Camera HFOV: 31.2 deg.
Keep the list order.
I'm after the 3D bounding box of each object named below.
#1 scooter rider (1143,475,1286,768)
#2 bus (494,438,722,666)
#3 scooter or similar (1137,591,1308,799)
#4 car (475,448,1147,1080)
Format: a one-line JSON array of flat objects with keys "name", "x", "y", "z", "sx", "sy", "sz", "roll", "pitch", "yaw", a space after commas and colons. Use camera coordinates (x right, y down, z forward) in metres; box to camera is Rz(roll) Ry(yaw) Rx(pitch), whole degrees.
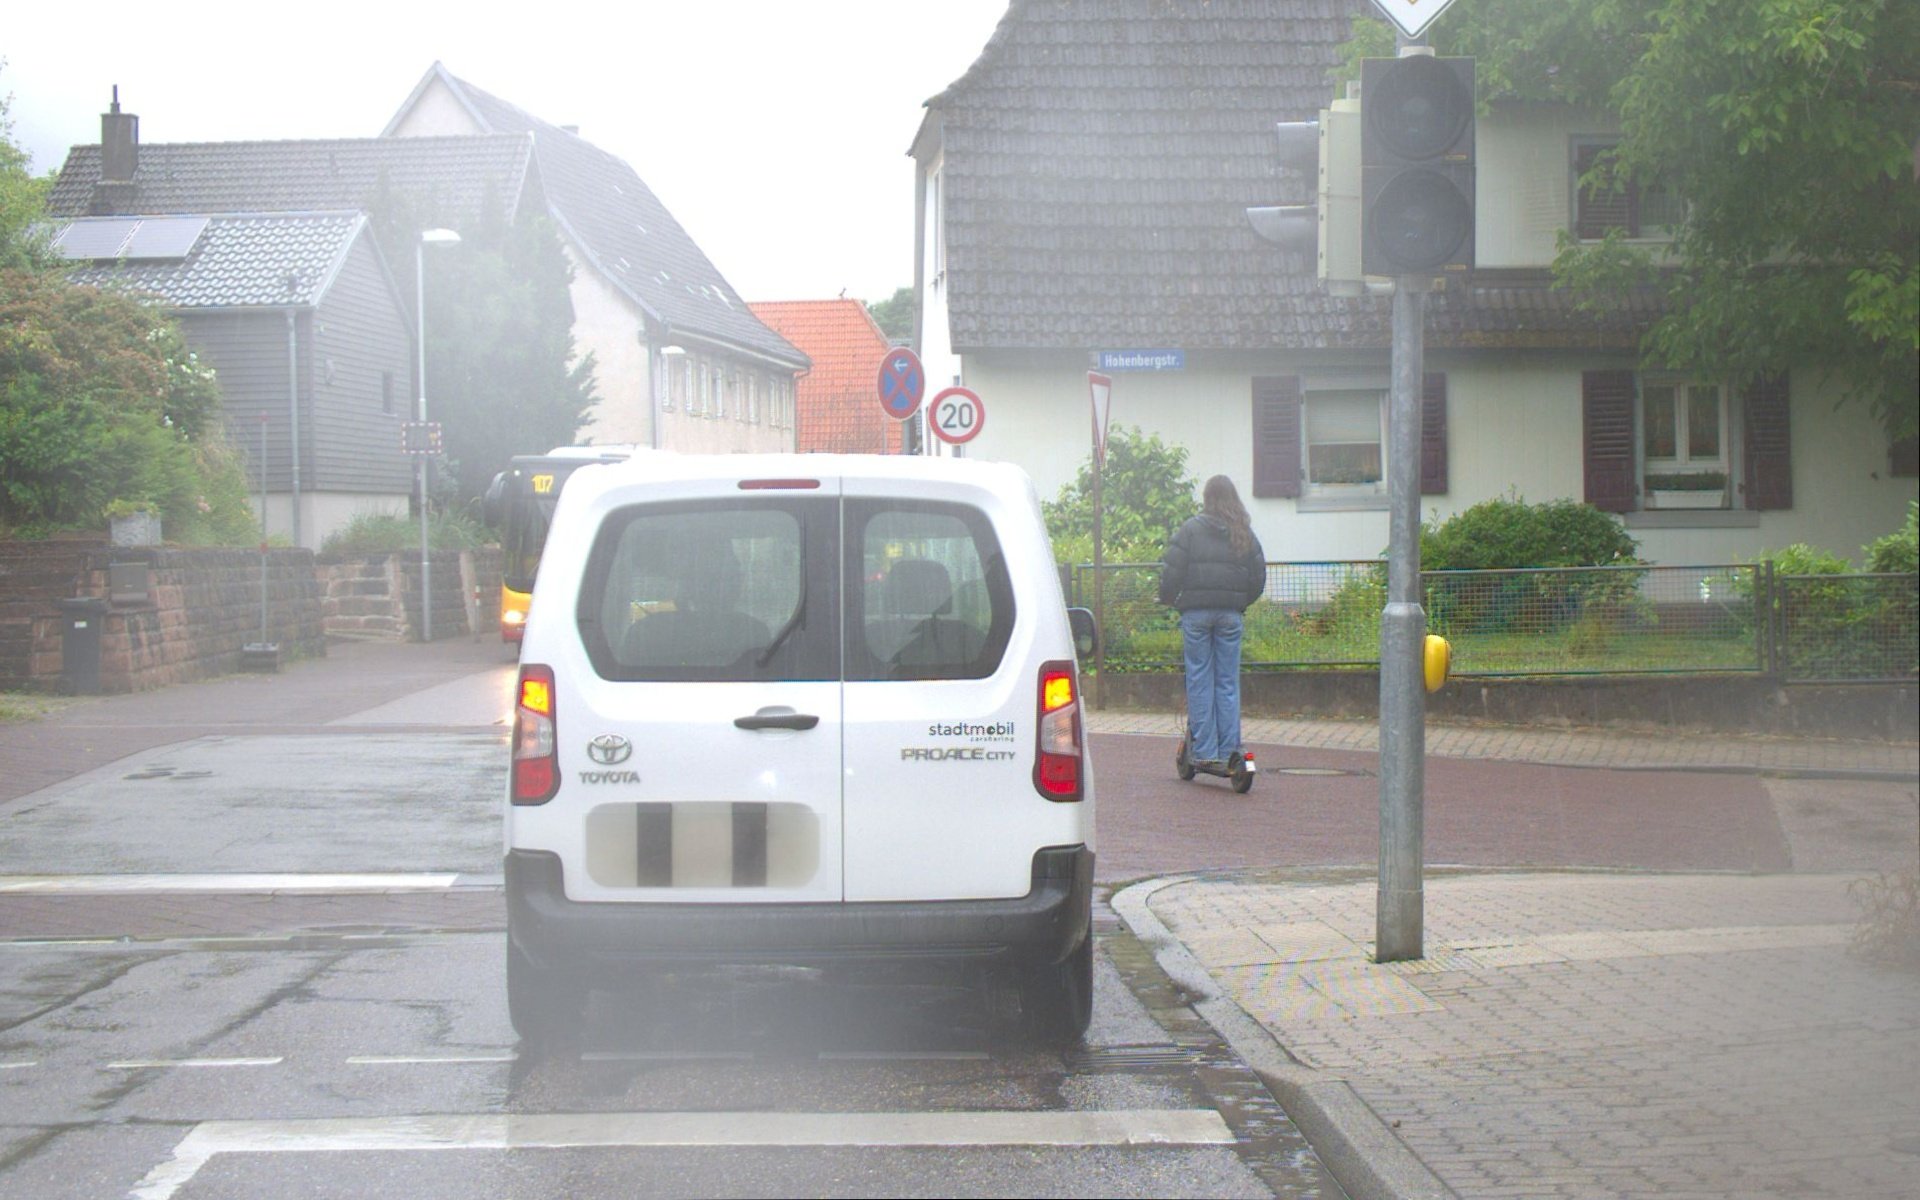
[{"name": "scooter rider", "x": 1.536, "y": 0.118, "z": 20.789, "sx": 0.730, "sy": 1.727, "sz": 0.518, "roll": -1, "pitch": 3, "yaw": -13}, {"name": "bus", "x": -5.042, "y": -0.893, "z": 51.260, "sx": 2.649, "sy": 2.989, "sz": 12.195, "roll": 0, "pitch": 2, "yaw": -2}, {"name": "scooter or similar", "x": 1.563, "y": 0.551, "z": 20.670, "sx": 0.620, "sy": 1.123, "sz": 1.402, "roll": -1, "pitch": 3, "yaw": -14}, {"name": "car", "x": -0.501, "y": 0.435, "z": 11.716, "sx": 1.894, "sy": 1.787, "sz": 3.814, "roll": 1, "pitch": 1, "yaw": -2}]
